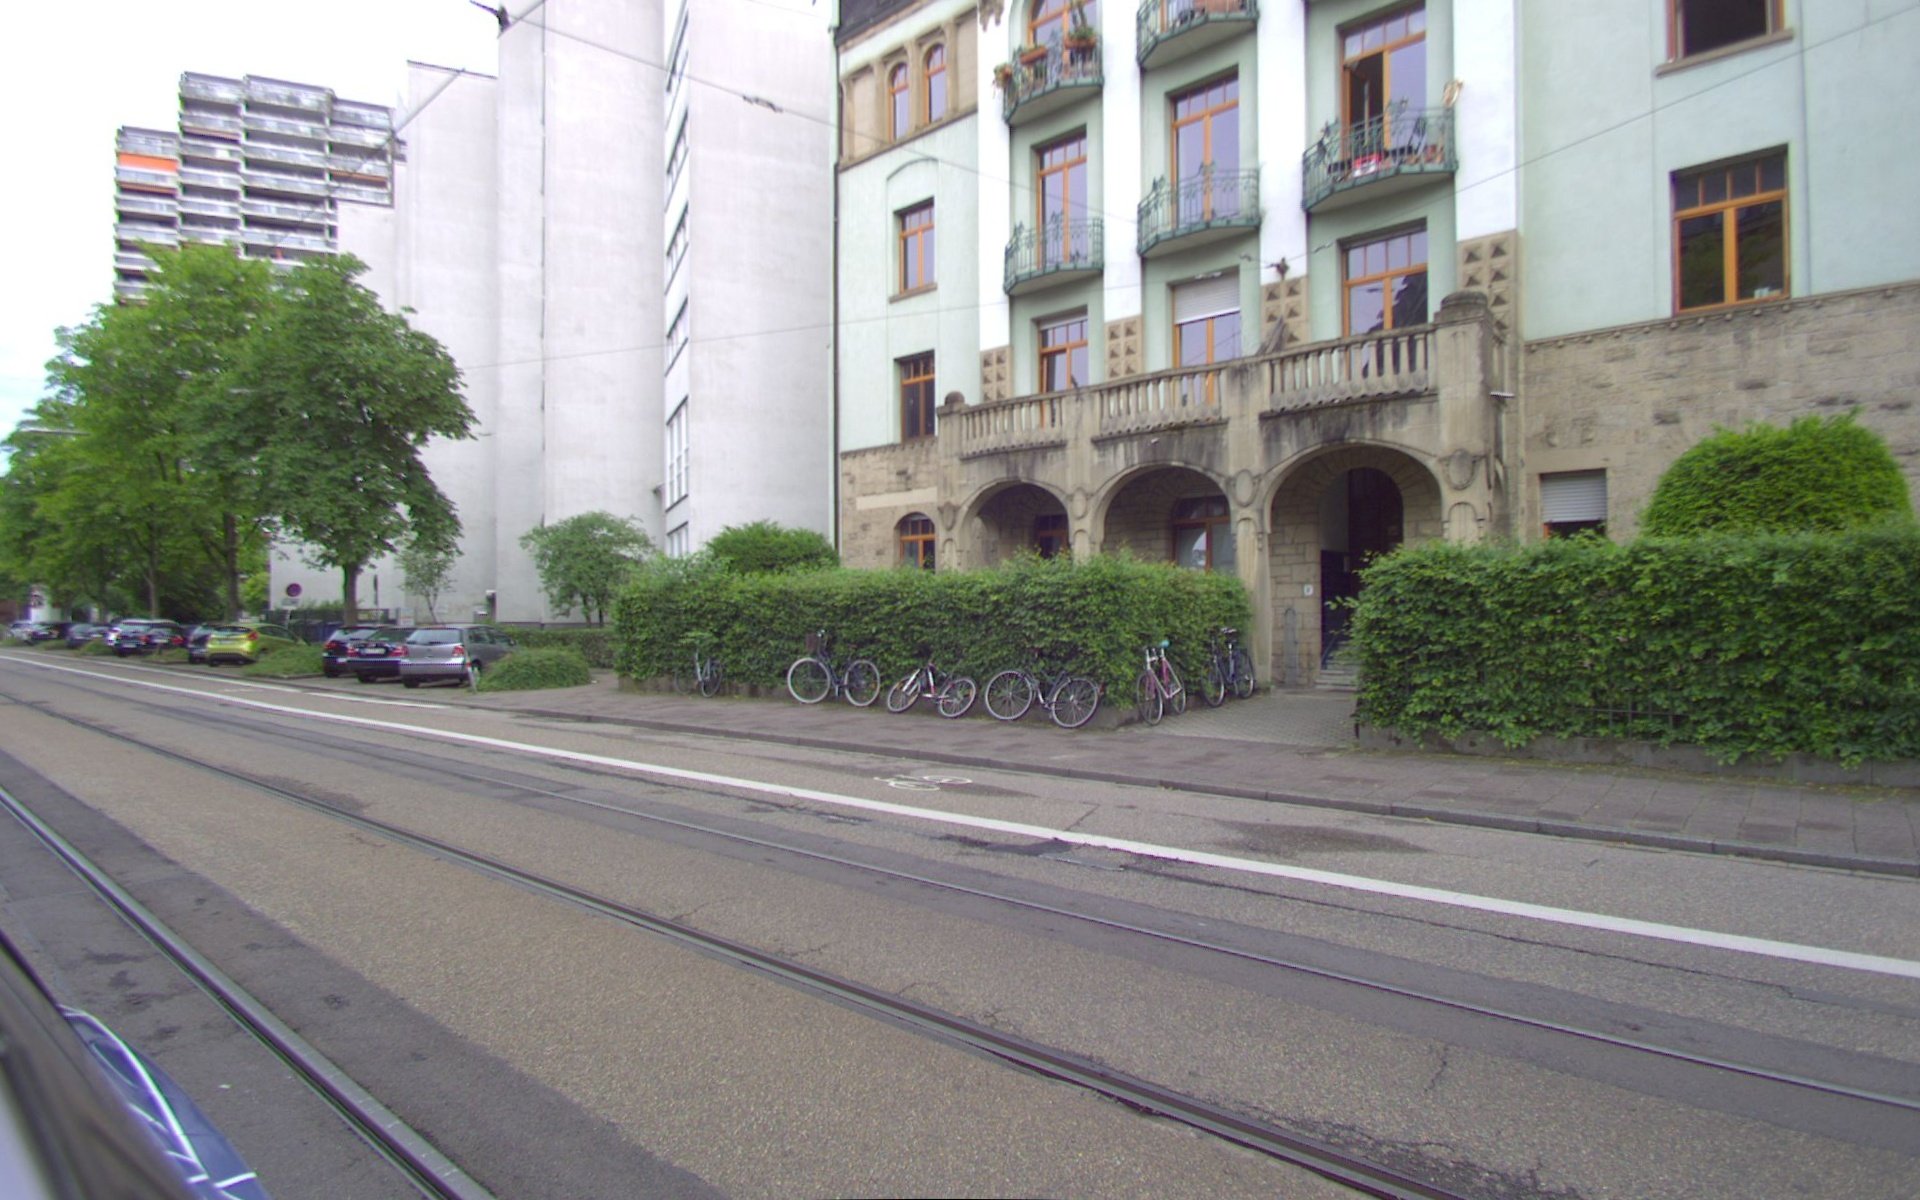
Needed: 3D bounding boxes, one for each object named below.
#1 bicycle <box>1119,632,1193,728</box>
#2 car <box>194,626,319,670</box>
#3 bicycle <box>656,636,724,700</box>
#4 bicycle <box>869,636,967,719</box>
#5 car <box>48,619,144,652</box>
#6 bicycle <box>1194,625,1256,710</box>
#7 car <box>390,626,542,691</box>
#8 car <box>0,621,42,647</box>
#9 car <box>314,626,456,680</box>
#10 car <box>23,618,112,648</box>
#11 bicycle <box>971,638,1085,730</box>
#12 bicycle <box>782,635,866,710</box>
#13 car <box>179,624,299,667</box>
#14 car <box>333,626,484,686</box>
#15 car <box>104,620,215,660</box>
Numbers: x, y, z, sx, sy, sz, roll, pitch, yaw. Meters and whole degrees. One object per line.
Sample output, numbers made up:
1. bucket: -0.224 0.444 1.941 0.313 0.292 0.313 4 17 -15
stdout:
1. bicycle: 2.473 0.977 12.713 0.300 1.091 1.190 -2 1 42
2. car: -24.109 1.601 34.870 1.670 1.405 4.002 0 -1 -3
3. bicycle: -4.793 1.184 17.926 1.546 1.092 0.356 -1 -2 41
4. bicycle: -0.606 1.059 14.178 1.546 1.092 0.356 -1 -2 41
5. car: -44.441 1.798 52.182 1.670 1.632 4.002 0 -1 -3
6. bicycle: 3.732 0.920 14.199 0.300 1.091 1.190 -2 1 42
7. car: -11.749 1.351 24.367 1.672 1.413 3.998 0 -1 1
8. car: -59.845 2.129 64.303 3.996 1.632 1.673 -1 -2 39
9. car: -16.075 1.442 28.535 1.672 1.413 3.998 0 -1 1
10. car: -51.388 1.883 58.369 1.670 1.632 4.002 0 -1 -3
11. bicycle: 0.844 1.038 12.848 1.546 1.092 0.356 -1 -2 41
12. bicycle: -2.119 1.099 15.609 1.546 1.092 0.356 -1 -2 41
13. car: -26.262 1.622 37.044 1.670 1.453 4.002 0 -1 -3
14. car: -14.077 1.395 26.089 1.672 1.413 3.998 0 -1 1
15. car: -33.936 1.673 43.024 1.670 1.632 4.002 0 -1 -3
